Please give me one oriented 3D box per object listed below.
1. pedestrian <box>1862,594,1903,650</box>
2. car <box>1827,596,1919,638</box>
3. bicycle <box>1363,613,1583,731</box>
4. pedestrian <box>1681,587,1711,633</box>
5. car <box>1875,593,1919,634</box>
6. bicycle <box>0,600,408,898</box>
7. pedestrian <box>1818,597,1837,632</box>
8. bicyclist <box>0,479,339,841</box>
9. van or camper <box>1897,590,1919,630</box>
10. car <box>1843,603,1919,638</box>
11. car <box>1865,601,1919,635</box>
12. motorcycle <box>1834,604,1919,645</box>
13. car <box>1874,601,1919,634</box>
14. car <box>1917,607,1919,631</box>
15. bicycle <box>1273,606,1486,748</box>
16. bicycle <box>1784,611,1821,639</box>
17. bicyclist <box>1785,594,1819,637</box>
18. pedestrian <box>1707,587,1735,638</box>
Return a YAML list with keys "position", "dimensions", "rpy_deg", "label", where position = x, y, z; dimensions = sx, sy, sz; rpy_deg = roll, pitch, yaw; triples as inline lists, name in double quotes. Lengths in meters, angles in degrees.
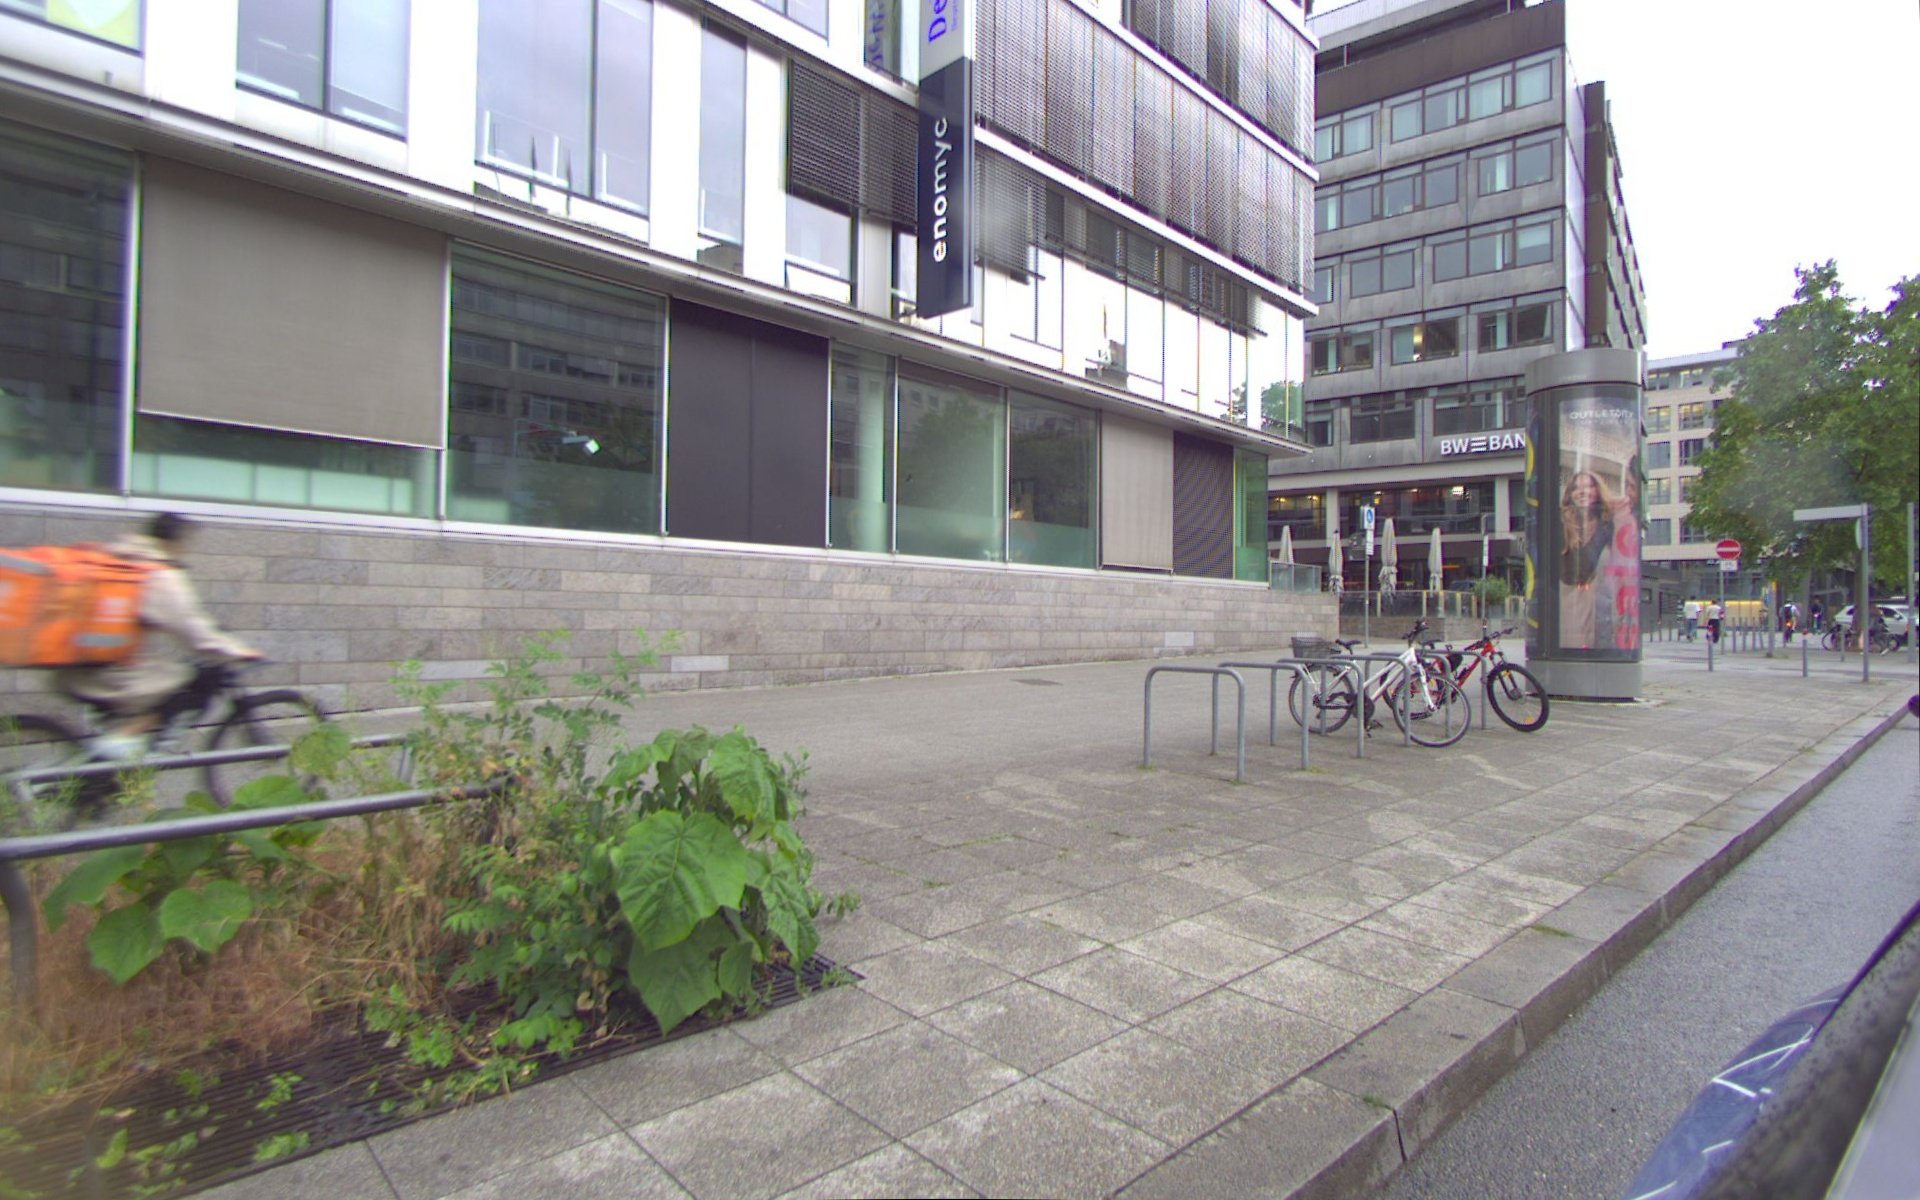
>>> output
- position: [28.416, 0.692, 31.187]
  dimensions: [0.708, 1.707, 0.528]
  rpy_deg: [0, -2, 5]
  label: "pedestrian"
- position: [38.716, 0.696, 41.372]
  dimensions: [1.876, 1.671, 4.812]
  rpy_deg: [0, -1, -11]
  label: "car"
- position: [5.503, 0.721, 10.983]
  dimensions: [0.793, 1.118, 1.989]
  rpy_deg: [1, 0, -37]
  label: "bicycle"
- position: [30.805, 0.434, 42.354]
  dimensions: [0.883, 1.893, 0.802]
  rpy_deg: [1, -2, -42]
  label: "pedestrian"
- position: [48.765, 0.675, 50.315]
  dimensions: [1.882, 2.018, 4.525]
  rpy_deg: [0, -1, -12]
  label: "car"
- position: [-4.029, 0.607, 5.184]
  dimensions: [0.996, 1.127, 2.061]
  rpy_deg: [-1, 2, 12]
  label: "bicycle"
- position: [48.075, 0.818, 56.082]
  dimensions: [0.719, 1.908, 0.646]
  rpy_deg: [-2, -2, 43]
  label: "pedestrian"
- position: [-4.037, 0.297, 5.149]
  dimensions: [0.999, 1.603, 1.131]
  rpy_deg: [-3, -2, 13]
  label: "bicyclist"
- position: [61.327, 0.561, 61.438]
  dimensions: [2.267, 2.479, 6.275]
  rpy_deg: [0, -1, -11]
  label: "van or camper"
- position: [41.049, 0.866, 43.332]
  dimensions: [1.877, 1.493, 4.729]
  rpy_deg: [0, -1, -9]
  label: "car"
- position: [44.772, 0.810, 46.509]
  dimensions: [1.876, 1.557, 4.365]
  rpy_deg: [0, -1, -14]
  label: "car"
- position: [31.759, 0.857, 35.068]
  dimensions: [0.664, 1.375, 2.090]
  rpy_deg: [1, -2, -34]
  label: "motorcycle"
- position: [46.773, 0.819, 48.223]
  dimensions: [1.876, 1.557, 4.399]
  rpy_deg: [0, -1, -14]
  label: "car"
- position: [58.716, 1.091, 58.935]
  dimensions: [1.673, 1.442, 4.068]
  rpy_deg: [0, -1, -12]
  label: "car"
- position: [4.043, 0.688, 9.891]
  dimensions: [0.648, 1.212, 1.841]
  rpy_deg: [1, 0, -37]
  label: "bicycle"
- position: [36.313, 1.067, 43.611]
  dimensions: [1.942, 1.154, 0.776]
  rpy_deg: [1, -4, -39]
  label: "bicycle"
- position: [36.264, 0.675, 43.591]
  dimensions: [1.060, 1.772, 0.811]
  rpy_deg: [-1, -3, -40]
  label: "bicyclist"
- position: [31.389, 0.533, 41.760]
  dimensions: [0.847, 2.065, 0.743]
  rpy_deg: [-1, -2, 35]
  label: "pedestrian"
